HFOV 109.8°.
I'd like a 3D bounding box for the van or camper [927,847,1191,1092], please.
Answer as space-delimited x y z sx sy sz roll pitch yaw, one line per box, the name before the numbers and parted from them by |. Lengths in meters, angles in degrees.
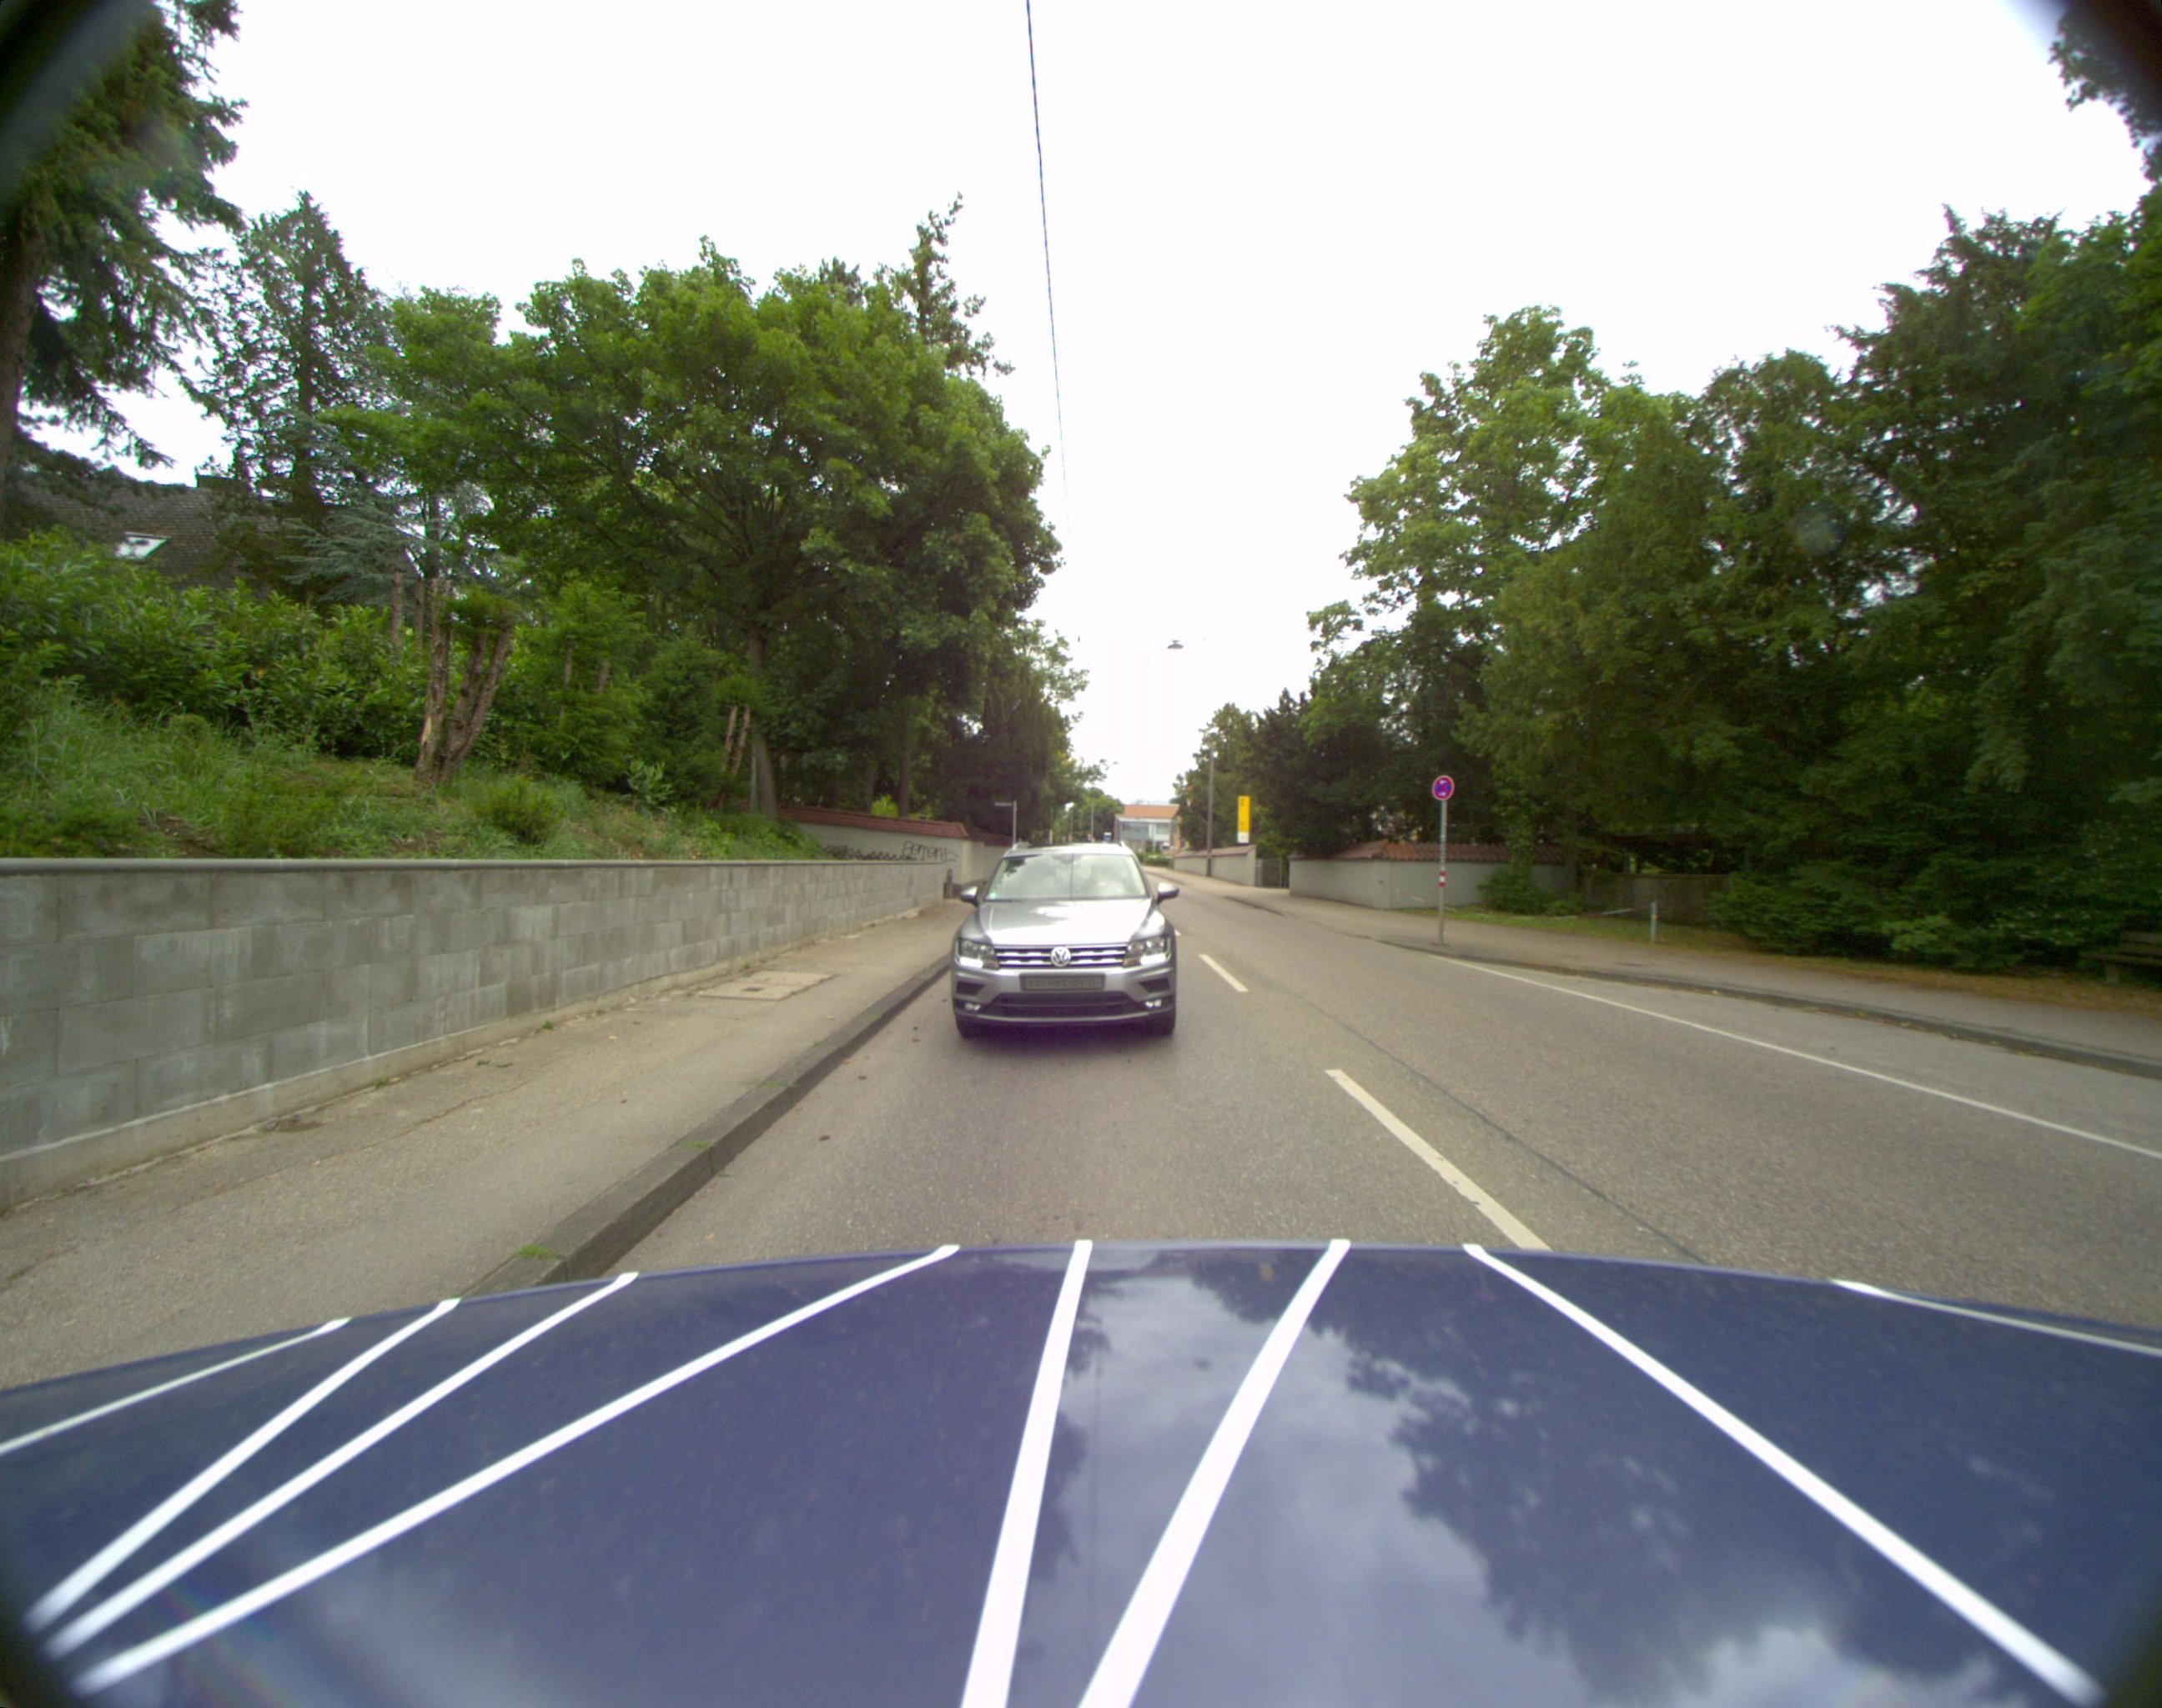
van or camper | -0.127 0.779 7.296 1.800 1.663 4.198 0 0 1
